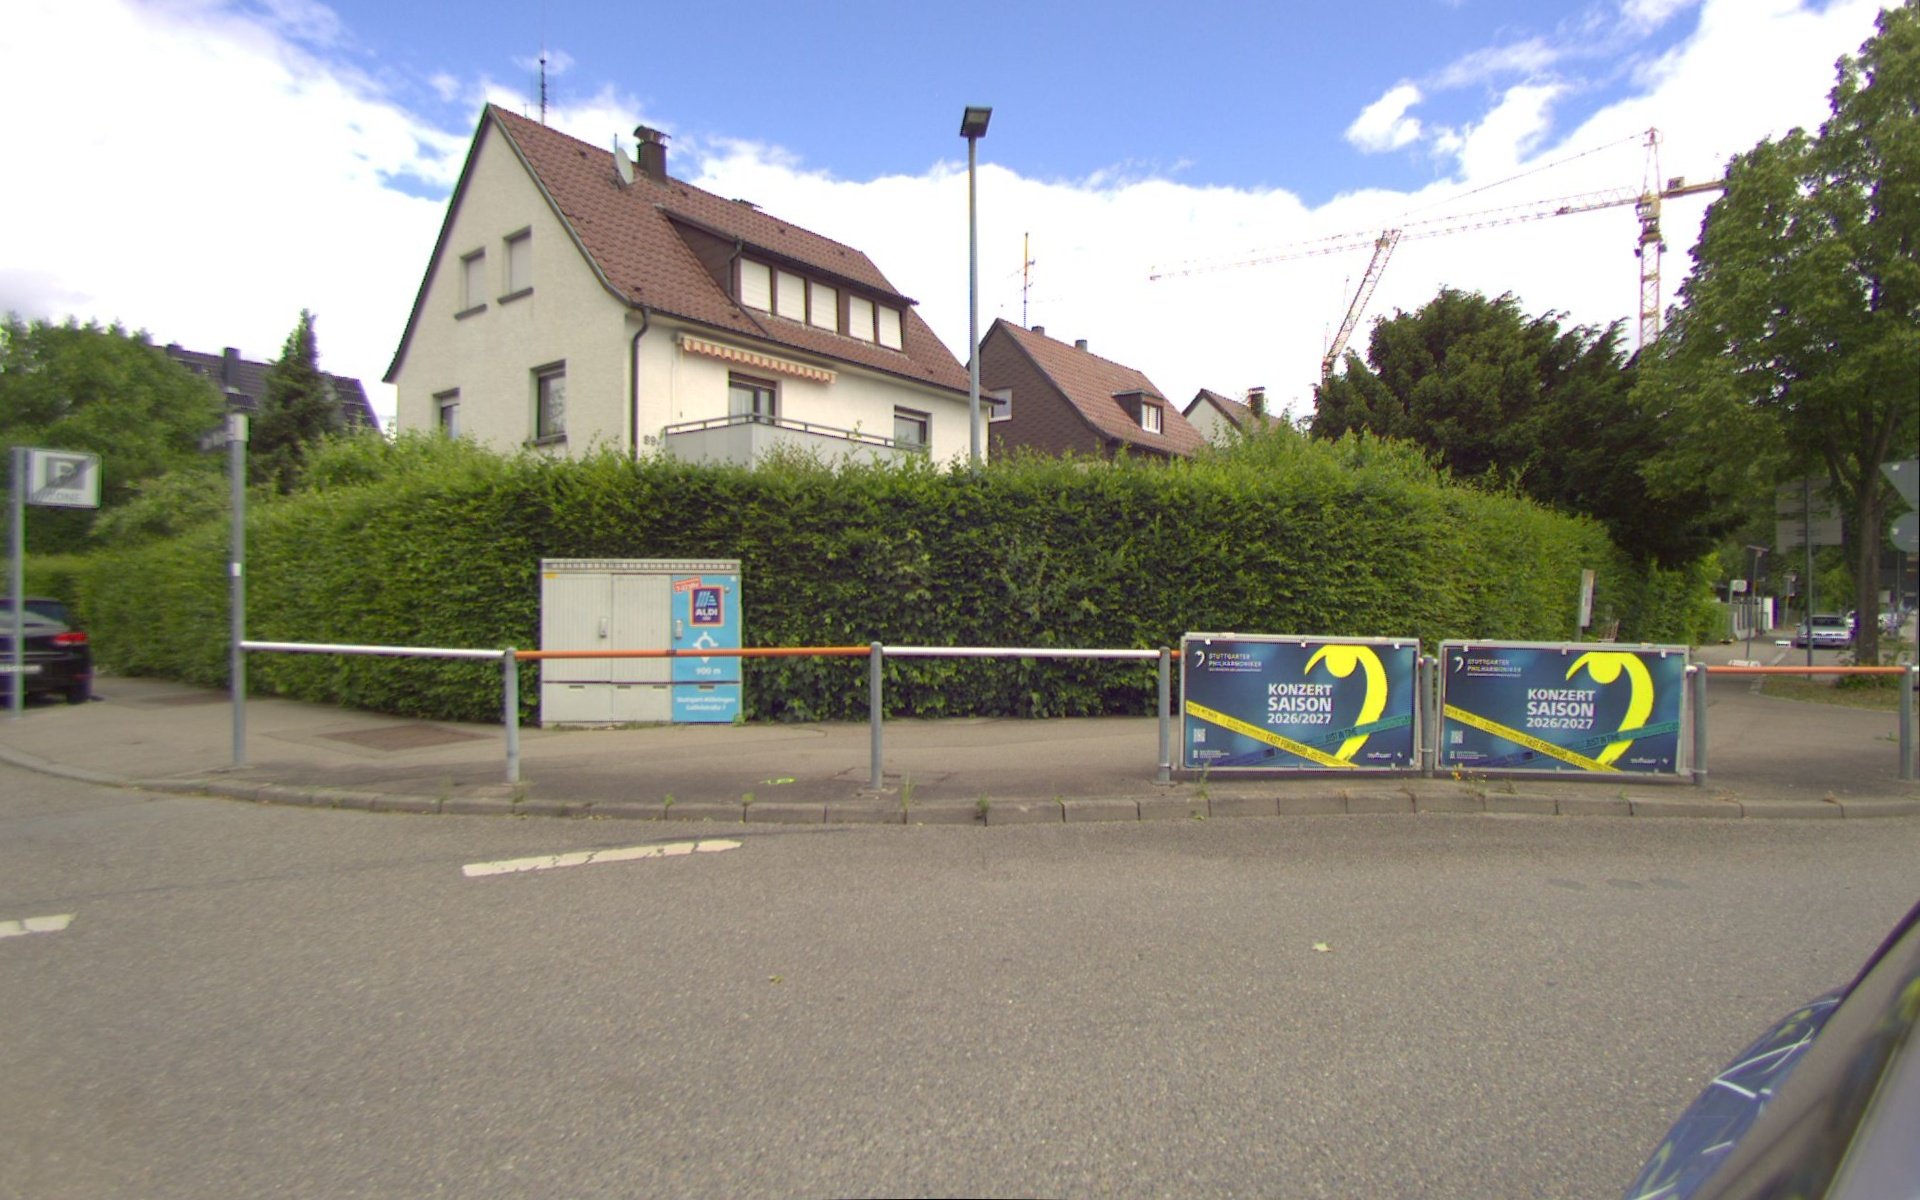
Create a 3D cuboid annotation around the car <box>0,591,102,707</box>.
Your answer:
[{"bbox_3d":[-13.499,0.653,14.074,3.596,1.473,1.685,-1,-2,38],"label":"car"}]

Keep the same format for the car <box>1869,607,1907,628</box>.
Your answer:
[{"bbox_3d":[62.214,1.170,67.805,1.806,1.359,3.936,1,0,44],"label":"car"}]

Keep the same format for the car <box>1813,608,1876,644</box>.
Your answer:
[{"bbox_3d":[36.849,1.056,42.135,1.806,1.359,3.936,1,0,44],"label":"car"}]
